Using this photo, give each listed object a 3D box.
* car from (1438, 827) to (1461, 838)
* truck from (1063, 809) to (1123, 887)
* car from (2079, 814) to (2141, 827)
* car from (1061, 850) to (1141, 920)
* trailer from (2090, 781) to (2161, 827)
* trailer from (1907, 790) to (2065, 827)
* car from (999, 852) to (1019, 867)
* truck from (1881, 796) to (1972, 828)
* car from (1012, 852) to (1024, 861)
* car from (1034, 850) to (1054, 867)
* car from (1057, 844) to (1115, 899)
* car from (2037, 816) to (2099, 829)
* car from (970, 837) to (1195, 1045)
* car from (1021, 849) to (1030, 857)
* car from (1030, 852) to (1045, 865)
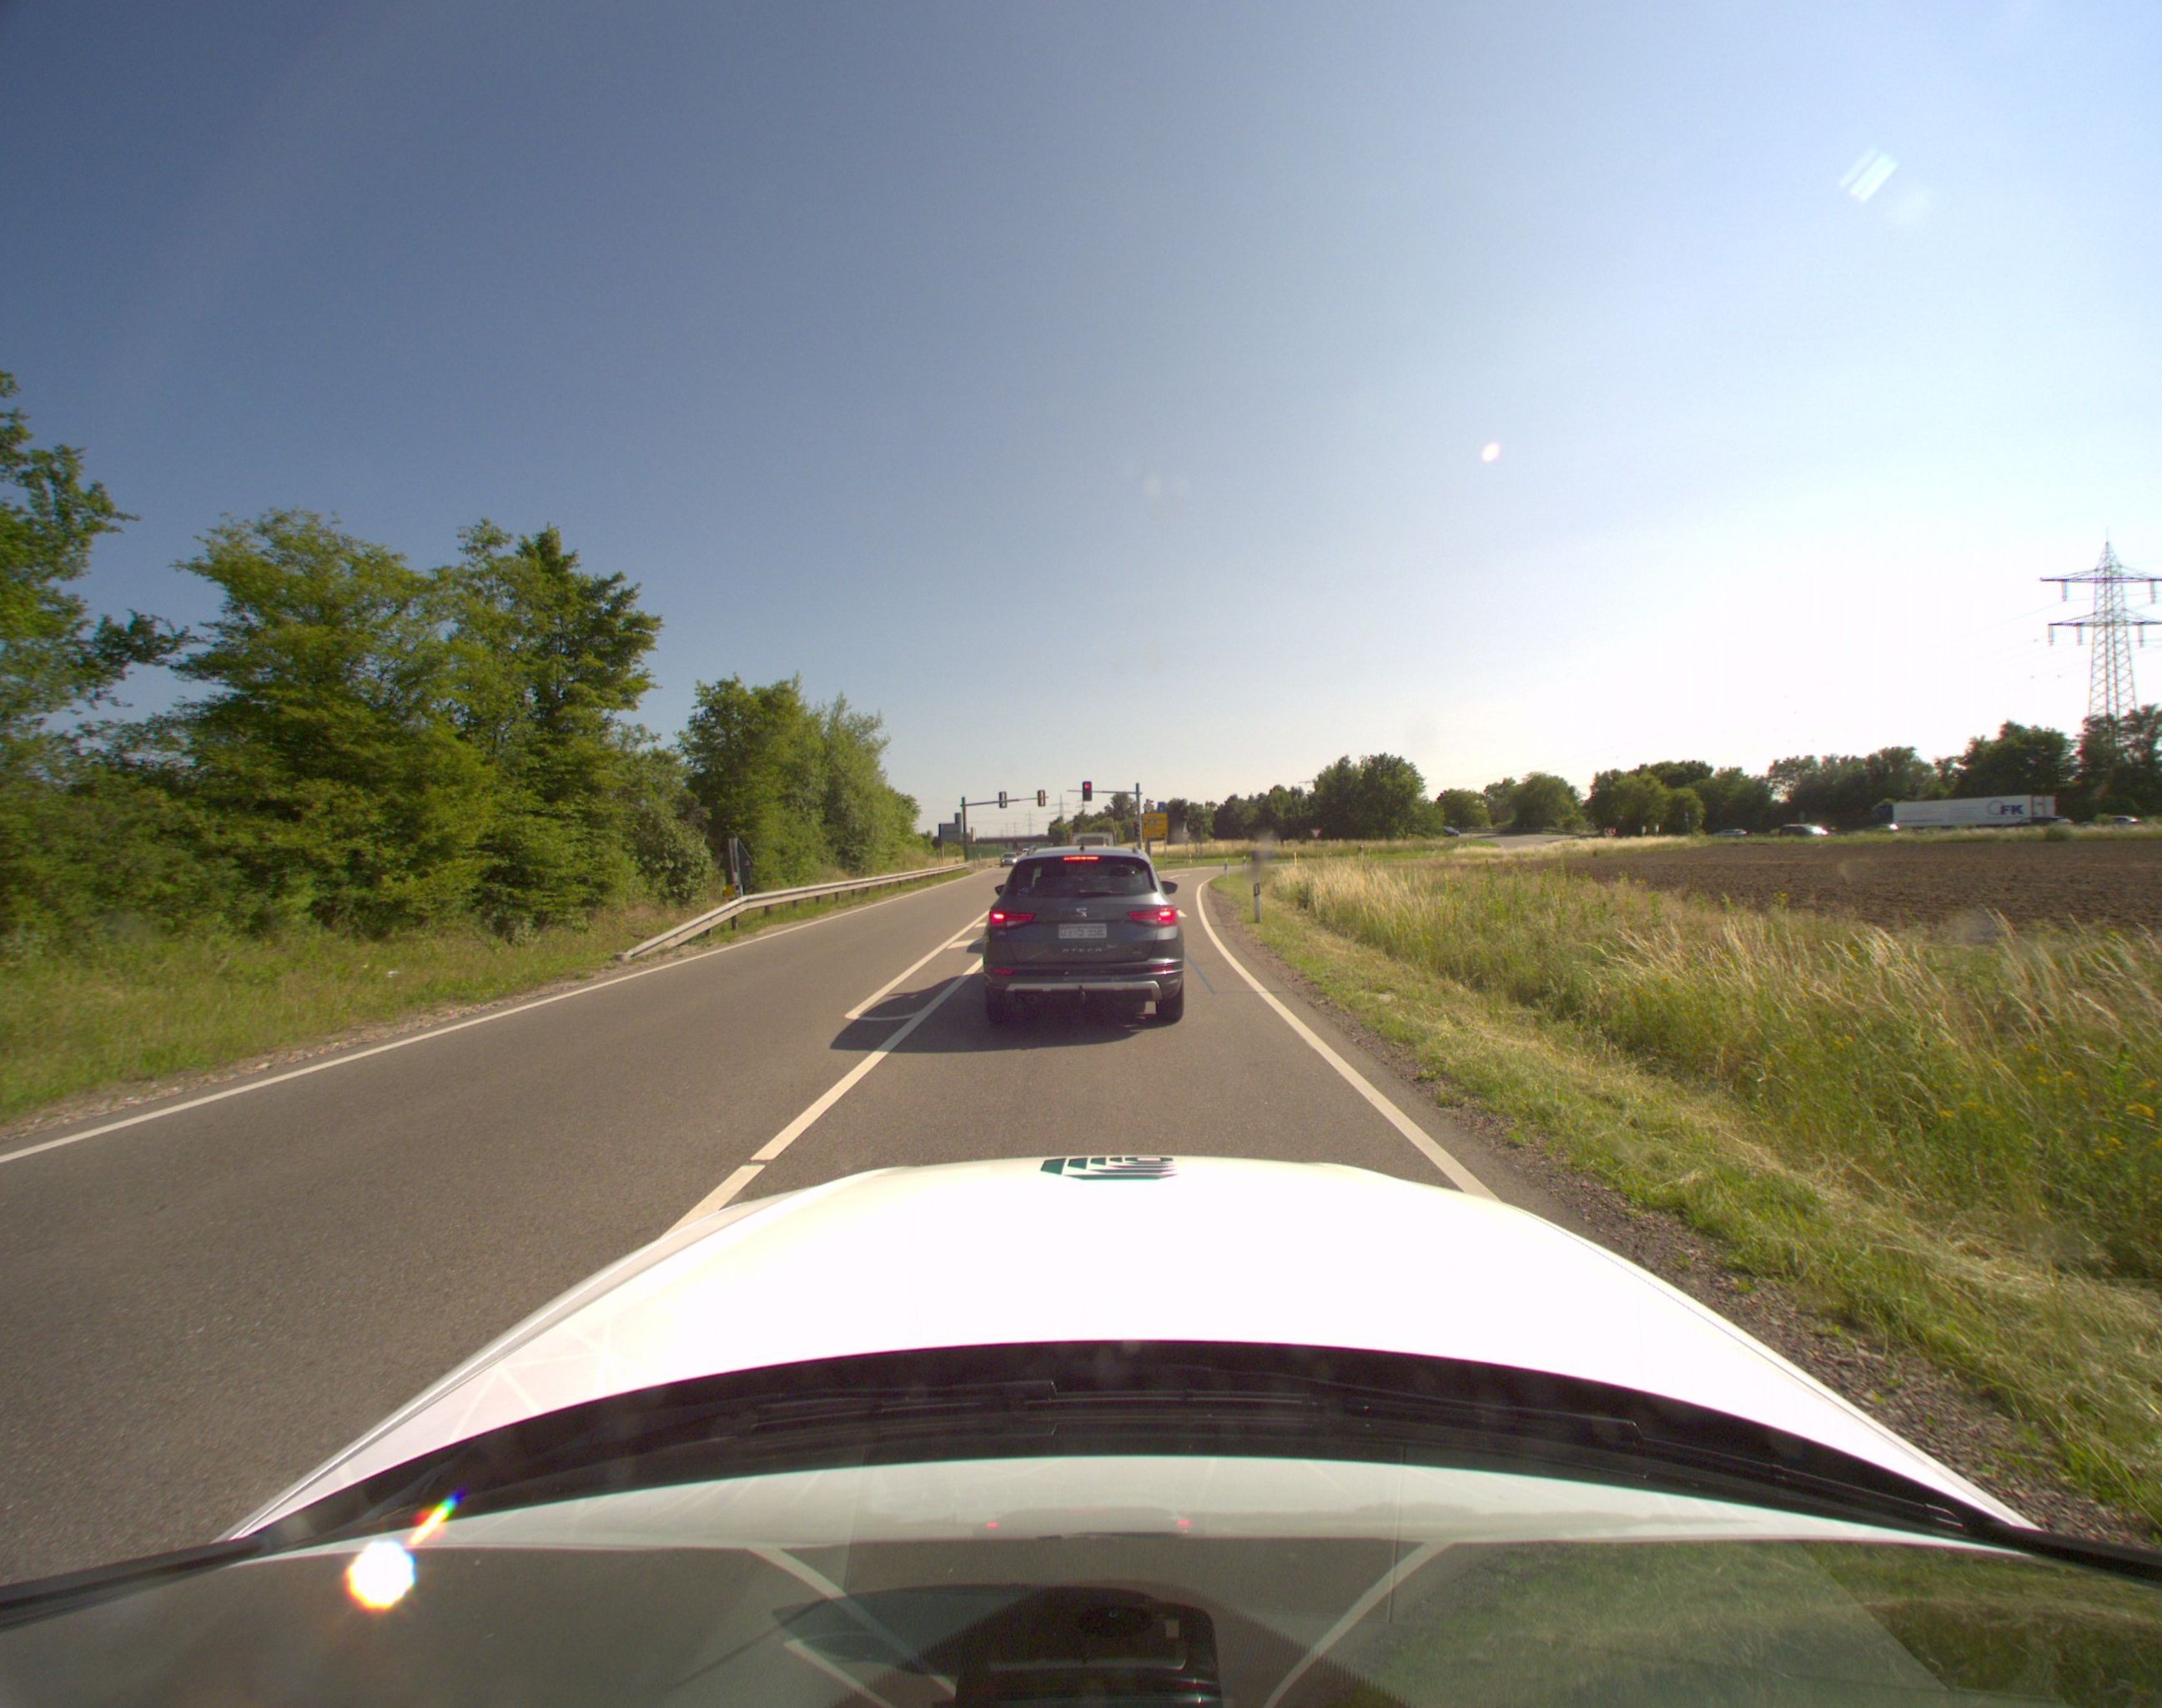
[{"bbox_3d":[53.516,-3.126,118.320,1.593,1.392,3.625,-2,0,-3],"label":"car"},{"bbox_3d":[0.512,-0.233,35.431,2.329,3.066,5.809,-1,0,1],"label":"truck"},{"bbox_3d":[98.254,-3.156,77.790,1.391,1.151,3.578,-1,1,-3],"label":"car"},{"bbox_3d":[0.445,0.696,20.797,1.780,1.543,3.999,-2,1,-1],"label":"car"},{"bbox_3d":[80.445,-3.785,57.185,2.507,3.267,13.024,-3,0,-2],"label":"trailer"},{"bbox_3d":[98.898,-4.872,89.512,3.275,3.267,12.449,-3,0,-1],"label":"trailer"},{"bbox_3d":[-7.235,0.541,82.197,1.821,1.431,3.994,-2,0,-4],"label":"car"},{"bbox_3d":[98.787,-4.876,95.341,3.275,3.267,6.975,-3,0,-2],"label":"truck"},{"bbox_3d":[-9.923,0.373,127.658,1.758,1.431,3.994,-2,0,-4],"label":"car"},{"bbox_3d":[-3.613,0.413,79.158,1.813,1.540,3.994,-2,0,-4],"label":"car"},{"bbox_3d":[0.136,0.540,27.790,1.780,1.675,3.999,-2,1,-1],"label":"car"},{"bbox_3d":[91.573,-2.914,75.587,1.391,1.151,3.578,-1,1,-3],"label":"car"},{"bbox_3d":[-0.003,0.684,8.618,1.780,1.629,3.999,-2,1,-1],"label":"car"},{"bbox_3d":[-13.553,-0.241,199.799,1.961,1.952,4.987,-2,0,-6],"label":"car"},{"bbox_3d":[-4.920,0.449,91.675,1.681,1.380,3.529,-1,1,-4],"label":"car"}]
